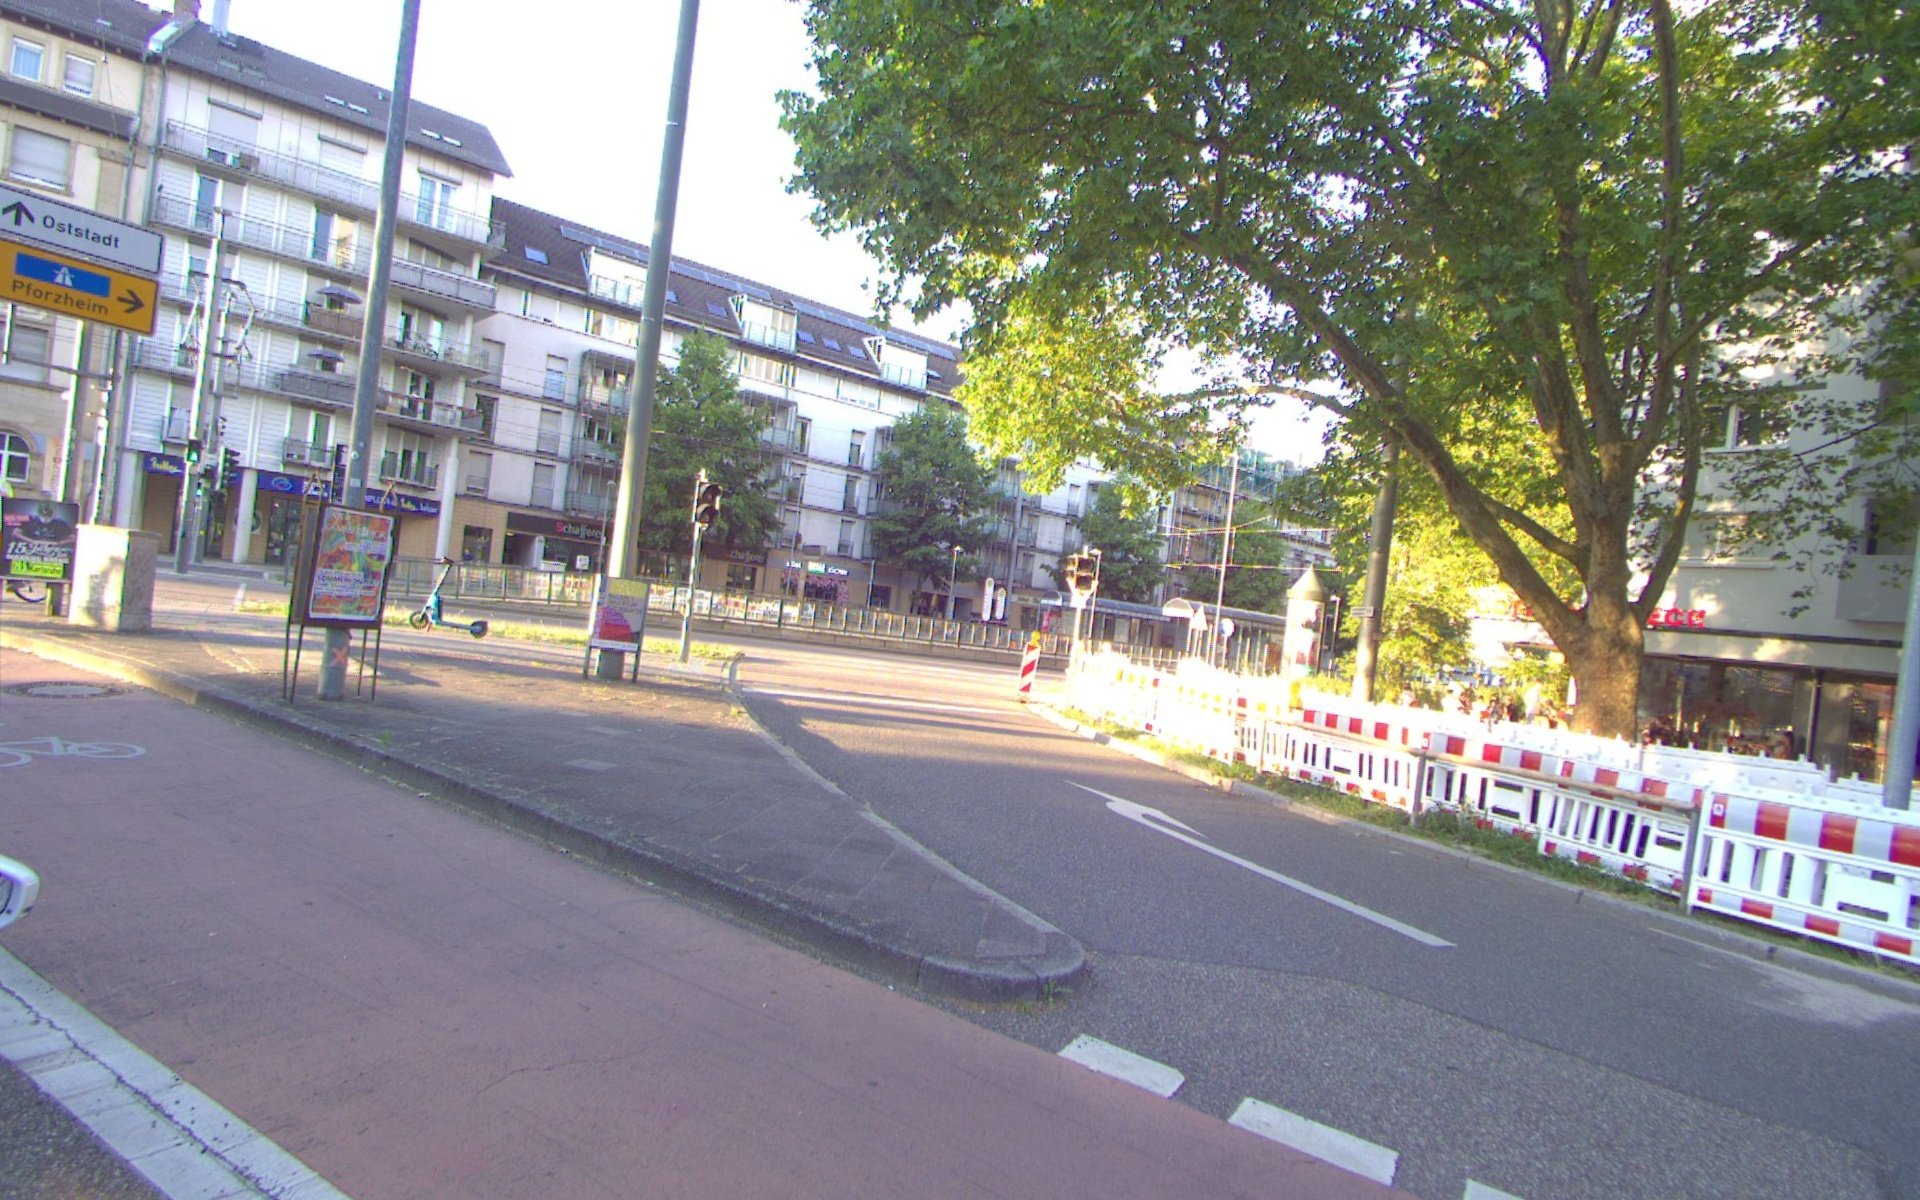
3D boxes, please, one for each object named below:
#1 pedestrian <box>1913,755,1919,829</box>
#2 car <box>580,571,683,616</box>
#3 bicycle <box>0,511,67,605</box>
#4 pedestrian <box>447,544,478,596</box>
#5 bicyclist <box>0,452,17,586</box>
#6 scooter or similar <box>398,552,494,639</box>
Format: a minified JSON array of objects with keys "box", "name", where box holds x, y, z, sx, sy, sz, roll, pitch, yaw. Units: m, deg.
[{"box":[15.699,2.885,15.836,0.733,1.607,0.641,6,-1,25],"name":"pedestrian"},{"box":[-14.954,-0.284,45.848,3.970,1.503,1.830,9,-3,-39],"name":"car"},{"box":[-12.092,-0.576,12.172,0.617,1.122,2.074,7,-2,0],"name":"bicycle"},{"box":[-22.678,-1.367,45.863,0.864,2.234,0.812,8,-1,-39],"name":"pedestrian"},{"box":[-12.048,-0.926,12.052,0.617,1.845,0.699,7,-1,-1],"name":"bicyclist"},{"box":[-8.412,-0.064,16.505,1.217,1.264,0.513,7,-1,-19],"name":"scooter or similar"}]
